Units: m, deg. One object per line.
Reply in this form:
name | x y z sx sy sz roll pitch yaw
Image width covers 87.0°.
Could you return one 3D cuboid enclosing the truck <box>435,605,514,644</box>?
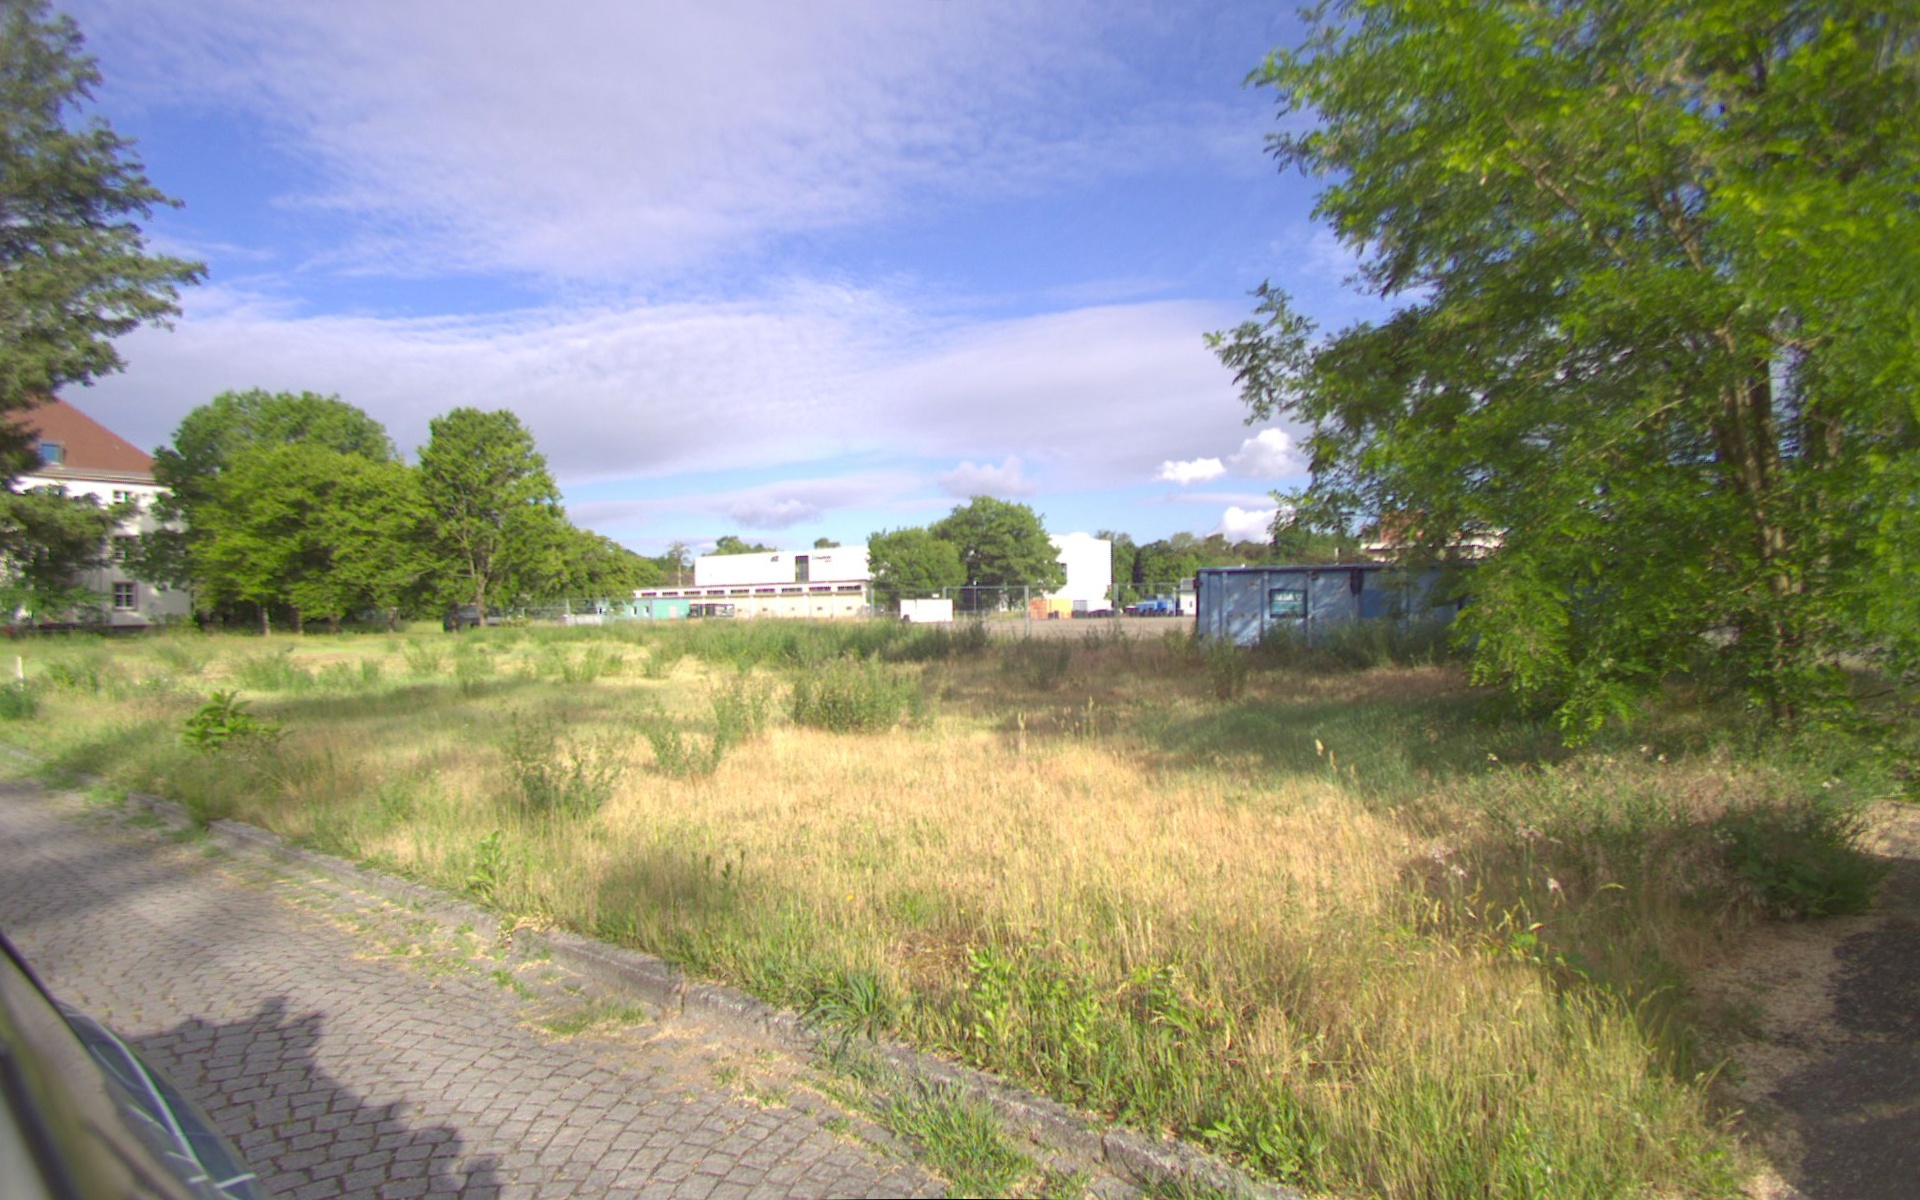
truck | -34.689 1.777 72.209 6.952 2.606 2.387 -2 -1 40
